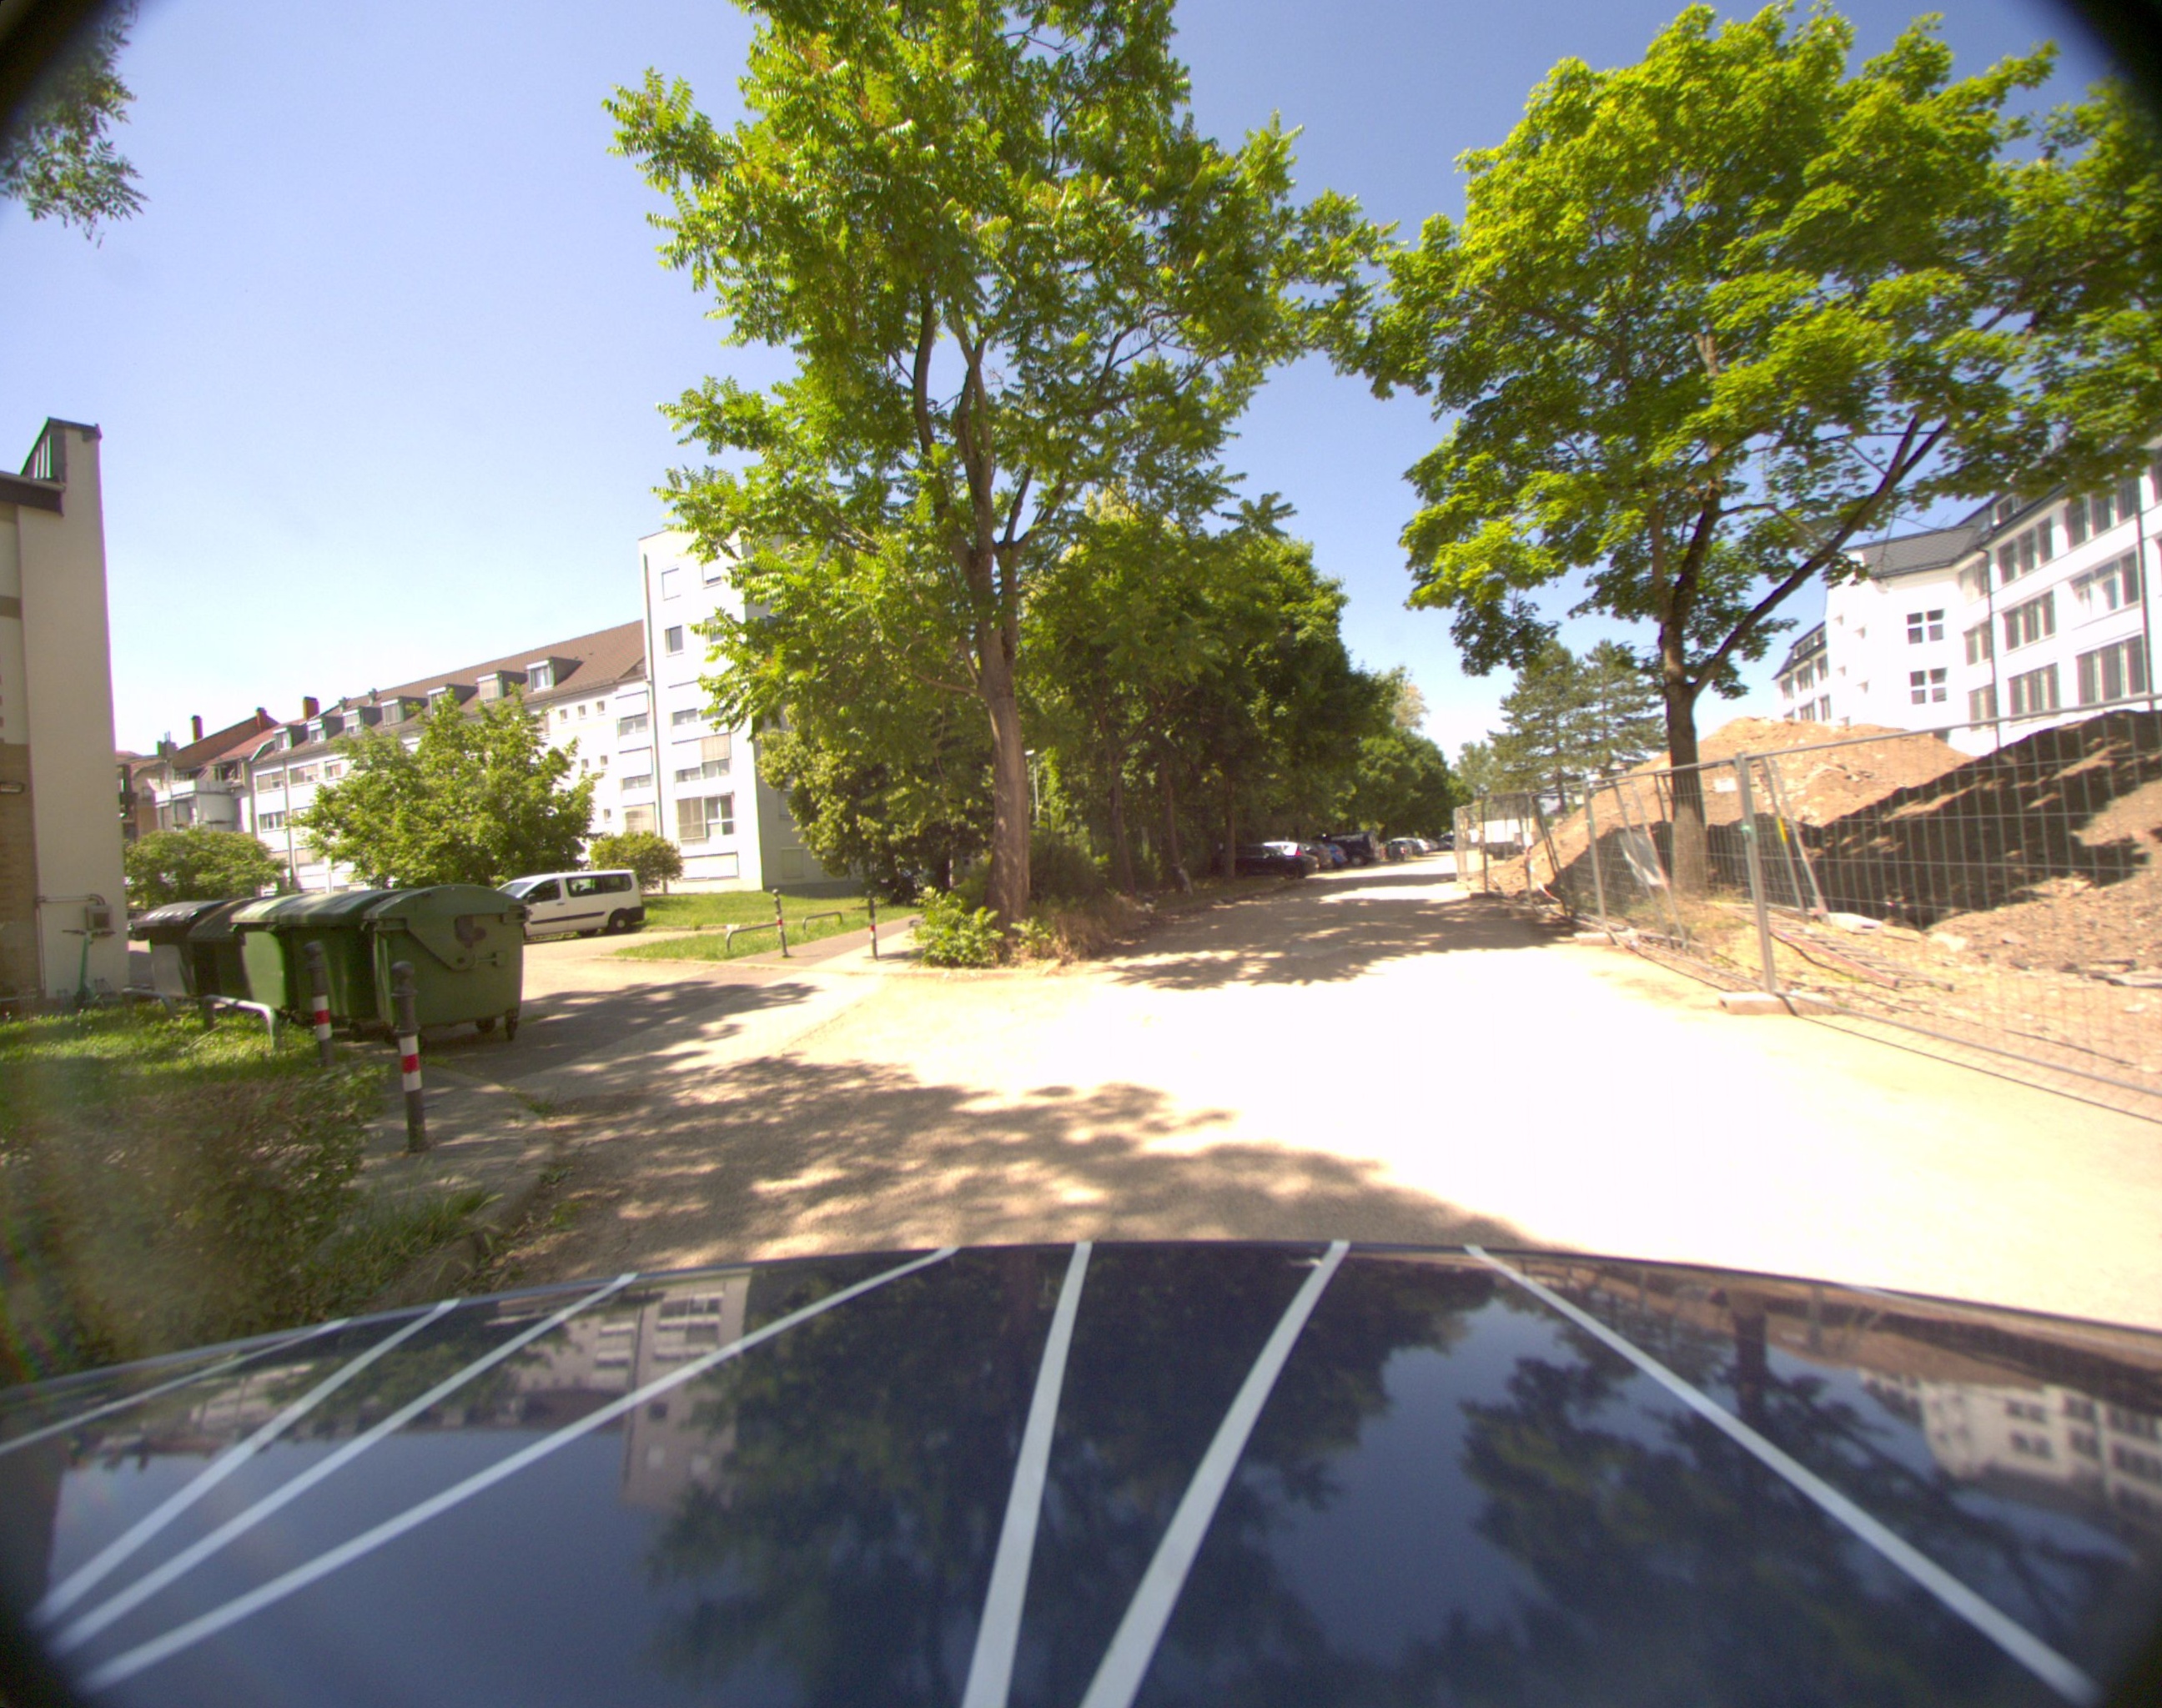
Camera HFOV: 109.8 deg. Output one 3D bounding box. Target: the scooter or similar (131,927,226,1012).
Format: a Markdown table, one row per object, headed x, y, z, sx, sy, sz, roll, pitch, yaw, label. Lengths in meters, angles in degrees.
| x | y | z | sx | sy | sz | roll | pitch | yaw | label |
| --- | --- | --- | --- | --- | --- | --- | --- | --- | --- |
| -13.540 | 1.713 | 11.400 | 1.354 | 1.167 | 0.466 | -3 | 1 | 22 | scooter or similar |

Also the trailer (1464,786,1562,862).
| x | y | z | sx | sy | sz | roll | pitch | yaw | label |
| --- | --- | --- | --- | --- | --- | --- | --- | --- | --- |
| 22.631 | -1.546 | 39.543 | 3.034 | 3.401 | 8.788 | -2 | 1 | 38 | trailer |

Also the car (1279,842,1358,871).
| x | y | z | sx | sy | sz | roll | pitch | yaw | label |
| --- | --- | --- | --- | --- | --- | --- | --- | --- | --- |
| 12.986 | 0.127 | 41.599 | 3.780 | 1.401 | 1.744 | -3 | 0 | 30 | car |

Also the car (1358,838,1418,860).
| x | y | z | sx | sy | sz | roll | pitch | yaw | label |
| --- | --- | --- | --- | --- | --- | --- | --- | --- | --- |
| 22.452 | -0.371 | 55.592 | 3.780 | 1.401 | 1.744 | -3 | 0 | 32 | car |

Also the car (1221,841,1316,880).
| x | y | z | sx | sy | sz | roll | pitch | yaw | label |
| --- | --- | --- | --- | --- | --- | --- | --- | --- | --- |
| 8.589 | 0.306 | 34.868 | 3.780 | 1.625 | 1.851 | -3 | 1 | 30 | car |

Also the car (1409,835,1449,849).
| x | y | z | sx | sy | sz | roll | pitch | yaw | label |
| --- | --- | --- | --- | --- | --- | --- | --- | --- | --- |
| 39.200 | -1.364 | 85.625 | 3.780 | 1.401 | 1.744 | -3 | 0 | 32 | car |

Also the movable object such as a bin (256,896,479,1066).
| x | y | z | sx | sy | sz | roll | pitch | yaw | label |
| --- | --- | --- | --- | --- | --- | --- | --- | --- | --- |
| -7.226 | 1.209 | 7.743 | 1.308 | 1.461 | 1.184 | -2 | 1 | 25 | movable object such as a bin |

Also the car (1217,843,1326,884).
| x | y | z | sx | sy | sz | roll | pitch | yaw | label |
| --- | --- | --- | --- | --- | --- | --- | --- | --- | --- |
| 7.873 | 0.403 | 31.493 | 3.990 | 1.494 | 1.693 | -3 | 1 | 31 | car |

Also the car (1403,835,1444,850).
| x | y | z | sx | sy | sz | roll | pitch | yaw | label |
| --- | --- | --- | --- | --- | --- | --- | --- | --- | --- |
| 36.587 | -1.184 | 81.161 | 3.780 | 1.401 | 1.744 | -3 | 0 | 32 | car |

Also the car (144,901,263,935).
| x | y | z | sx | sy | sz | roll | pitch | yaw | label |
| --- | --- | --- | --- | --- | --- | --- | --- | --- | --- |
| -51.269 | 3.713 | 44.499 | 1.855 | 1.544 | 4.177 | -3 | -1 | 26 | car |

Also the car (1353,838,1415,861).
| x | y | z | sx | sy | sz | roll | pitch | yaw | label |
| --- | --- | --- | --- | --- | --- | --- | --- | --- | --- |
| 21.458 | -0.299 | 53.849 | 3.780 | 1.401 | 1.744 | -3 | 0 | 32 | car |

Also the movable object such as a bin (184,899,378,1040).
| x | y | z | sx | sy | sz | roll | pitch | yaw | label |
| --- | --- | --- | --- | --- | --- | --- | --- | --- | --- |
| -9.642 | 1.336 | 9.191 | 1.308 | 1.461 | 1.184 | -2 | 1 | 24 | movable object such as a bin |

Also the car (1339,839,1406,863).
| x | y | z | sx | sy | sz | roll | pitch | yaw | label |
| --- | --- | --- | --- | --- | --- | --- | --- | --- | --- |
| 19.219 | -0.193 | 50.111 | 3.780 | 1.401 | 1.744 | -3 | 0 | 32 | car |

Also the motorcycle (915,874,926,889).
| x | y | z | sx | sy | sz | roll | pitch | yaw | label |
| --- | --- | --- | --- | --- | --- | --- | --- | --- | --- |
| -13.024 | 2.227 | 61.597 | 0.700 | 1.161 | 2.309 | -3 | 0 | -9 | motorcycle |

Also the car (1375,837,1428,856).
| x | y | z | sx | sy | sz | roll | pitch | yaw | label |
| --- | --- | --- | --- | --- | --- | --- | --- | --- | --- |
| 27.039 | -0.592 | 64.115 | 3.780 | 1.401 | 1.744 | -3 | 0 | 32 | car |

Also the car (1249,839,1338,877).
| x | y | z | sx | sy | sz | roll | pitch | yaw | label |
| --- | --- | --- | --- | --- | --- | --- | --- | --- | --- |
| 10.375 | 0.194 | 37.054 | 3.780 | 1.625 | 1.851 | -3 | 1 | 30 | car |

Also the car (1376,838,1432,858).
| x | y | z | sx | sy | sz | roll | pitch | yaw | label |
| --- | --- | --- | --- | --- | --- | --- | --- | --- | --- |
| 25.601 | -0.482 | 60.209 | 3.780 | 1.401 | 1.744 | -3 | 0 | 32 | car |

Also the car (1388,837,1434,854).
| x | y | z | sx | sy | sz | roll | pitch | yaw | label |
| --- | --- | --- | --- | --- | --- | --- | --- | --- | --- |
| 31.246 | -0.833 | 71.923 | 3.780 | 1.401 | 1.744 | -3 | 0 | 32 | car |

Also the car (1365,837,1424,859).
| x | y | z | sx | sy | sz | roll | pitch | yaw | label |
| --- | --- | --- | --- | --- | --- | --- | --- | --- | --- |
| 23.608 | -0.442 | 57.247 | 3.780 | 1.401 | 1.744 | -3 | 0 | 32 | car |

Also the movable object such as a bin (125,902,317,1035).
| x | y | z | sx | sy | sz | roll | pitch | yaw | label |
| --- | --- | --- | --- | --- | --- | --- | --- | --- | --- |
| -11.209 | 1.437 | 9.936 | 1.459 | 1.497 | 1.160 | -2 | 1 | 22 | movable object such as a bin |

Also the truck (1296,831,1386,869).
| x | y | z | sx | sy | sz | roll | pitch | yaw | label |
| --- | --- | --- | --- | --- | --- | --- | --- | --- | --- |
| 14.927 | -0.230 | 43.647 | 4.446 | 1.982 | 2.003 | -3 | 1 | 32 | truck |

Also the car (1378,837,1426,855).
| x | y | z | sx | sy | sz | roll | pitch | yaw | label |
| --- | --- | --- | --- | --- | --- | --- | --- | --- | --- |
| 29.419 | -0.732 | 69.575 | 3.780 | 1.401 | 1.744 | -3 | 0 | 32 | car |

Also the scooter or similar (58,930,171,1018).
| x | y | z | sx | sy | sz | roll | pitch | yaw | label |
| --- | --- | --- | --- | --- | --- | --- | --- | --- | --- |
| -13.816 | 1.718 | 10.863 | 1.254 | 1.167 | 0.465 | -3 | 1 | 13 | scooter or similar |

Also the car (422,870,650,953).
| x | y | z | sx | sy | sz | roll | pitch | yaw | label |
| --- | --- | --- | --- | --- | --- | --- | --- | --- | --- |
| -15.249 | 1.533 | 21.616 | 1.995 | 1.900 | 4.812 | -4 | -1 | 26 | car |

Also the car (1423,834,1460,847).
| x | y | z | sx | sy | sz | roll | pitch | yaw | label |
| --- | --- | --- | --- | --- | --- | --- | --- | --- | --- |
| 43.352 | -1.628 | 91.416 | 3.780 | 1.401 | 1.744 | -3 | 0 | 32 | car |

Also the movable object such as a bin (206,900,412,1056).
| x | y | z | sx | sy | sz | roll | pitch | yaw | label |
| --- | --- | --- | --- | --- | --- | --- | --- | --- | --- |
| -8.502 | 1.294 | 8.405 | 1.308 | 1.461 | 1.184 | -2 | 1 | 27 | movable object such as a bin |

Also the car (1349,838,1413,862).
| x | y | z | sx | sy | sz | roll | pitch | yaw | label |
| --- | --- | --- | --- | --- | --- | --- | --- | --- | --- |
| 20.494 | -0.275 | 51.923 | 3.780 | 1.401 | 1.744 | -3 | 0 | 32 | car |

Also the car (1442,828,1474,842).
| x | y | z | sx | sy | sz | roll | pitch | yaw | label |
| --- | --- | --- | --- | --- | --- | --- | --- | --- | --- |
| 53.480 | -2.679 | 107.755 | 3.780 | 1.711 | 1.744 | -3 | 1 | 32 | car |

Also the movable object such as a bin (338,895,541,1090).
| x | y | z | sx | sy | sz | roll | pitch | yaw | label |
| --- | --- | --- | --- | --- | --- | --- | --- | --- | --- |
| -5.893 | 1.163 | 6.982 | 1.329 | 1.461 | 1.185 | -2 | 2 | 42 | movable object such as a bin |
